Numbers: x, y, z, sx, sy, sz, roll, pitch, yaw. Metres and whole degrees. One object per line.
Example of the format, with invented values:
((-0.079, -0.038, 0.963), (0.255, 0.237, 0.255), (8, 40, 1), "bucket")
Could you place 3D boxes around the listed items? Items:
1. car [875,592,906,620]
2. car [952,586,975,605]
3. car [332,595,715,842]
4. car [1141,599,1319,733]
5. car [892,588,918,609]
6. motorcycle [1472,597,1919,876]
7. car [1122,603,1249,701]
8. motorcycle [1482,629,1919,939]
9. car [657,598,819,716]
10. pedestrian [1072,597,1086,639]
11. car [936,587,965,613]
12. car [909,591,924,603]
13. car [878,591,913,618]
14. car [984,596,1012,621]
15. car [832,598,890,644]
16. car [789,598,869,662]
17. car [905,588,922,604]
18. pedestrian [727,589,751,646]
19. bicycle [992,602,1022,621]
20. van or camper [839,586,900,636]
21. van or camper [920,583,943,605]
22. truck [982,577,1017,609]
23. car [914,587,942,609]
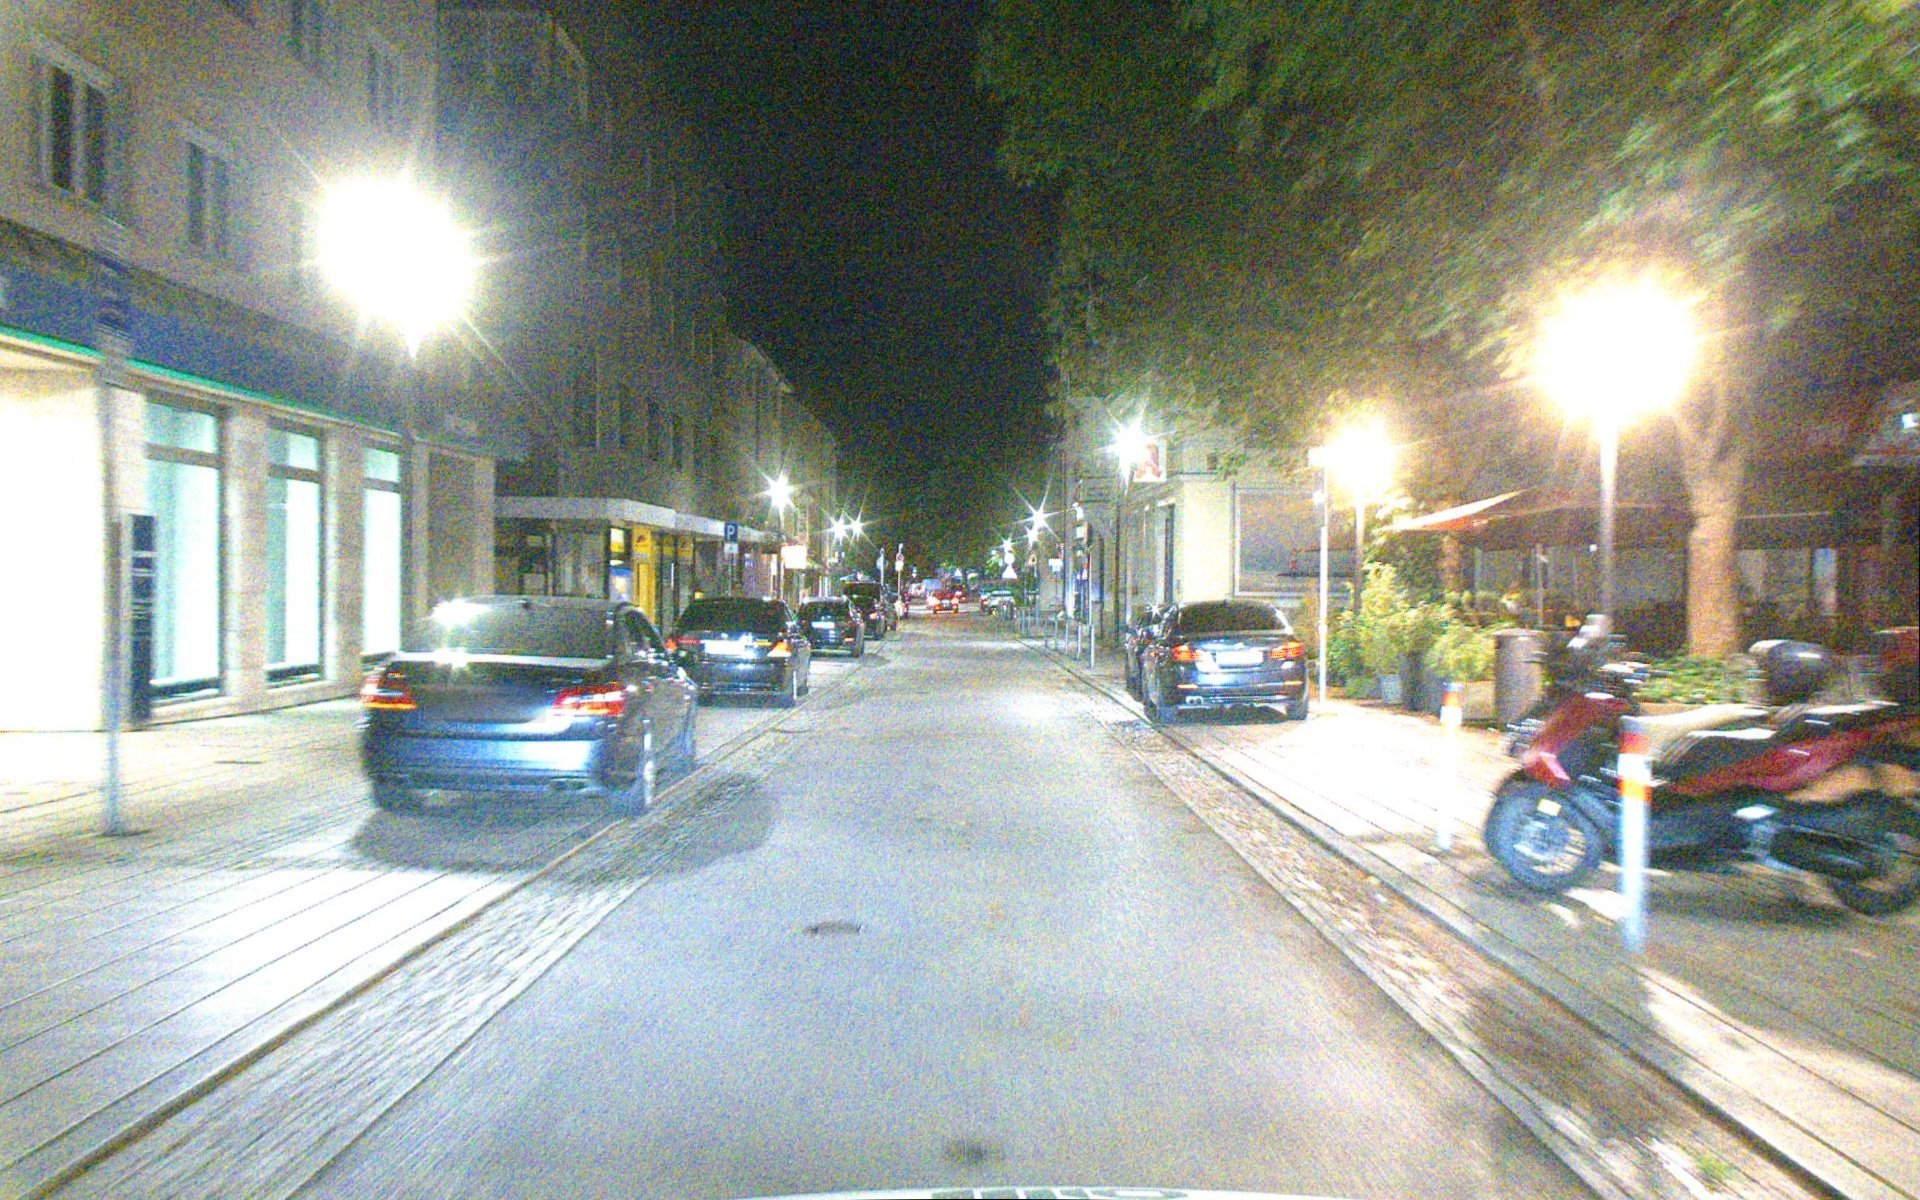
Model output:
((-3.944, 0.331, 94.900), (1.693, 1.502, 3.846), (1, 0, -2), "car")
((0.332, -0.444, 159.604), (1.780, 1.860, 4.341), (0, 1, -7), "car")
((-2.988, 0.720, 12.341), (1.862, 1.496, 4.522), (1, 0, -3), "car")
((3.360, 0.758, 21.349), (1.717, 1.489, 4.468), (-2, 0, 3), "car")
((-4.299, -0.164, 128.560), (1.641, 1.570, 4.225), (1, 0, -6), "car")
((4.036, 0.705, 9.153), (2.218, 1.415, 0.661), (-1, 0, 24), "motorcycle")
((3.568, 0.786, 26.767), (1.626, 1.401, 4.105), (-2, 0, 3), "car")
((3.614, 0.804, 7.835), (2.128, 1.320, 0.513), (-1, 0, 38), "motorcycle")
((-3.130, 0.752, 24.147), (1.807, 1.489, 4.622), (2, 0, -2), "car")
((4.577, 0.687, 63.390), (0.490, 1.574, 0.480), (1, 0, 5), "pedestrian")
((-0.710, -0.017, 117.722), (1.953, 1.855, 3.999), (0, 0, -2), "car")
((-5.235, -0.355, 198.586), (1.501, 1.443, 3.841), (0, 0, -6), "car")
((-3.909, 0.260, 100.350), (1.979, 1.514, 5.006), (3, 0, -1), "car")
((2.476, 0.547, 108.690), (1.753, 1.517, 4.059), (-1, 0, 0), "car")
((-3.342, 0.693, 56.329), (1.681, 1.437, 4.385), (2, 0, 0), "car")
((-3.278, 0.736, 42.107), (1.761, 1.504, 4.320), (1, 0, -1), "car")
((-5.706, -0.533, 204.165), (1.804, 1.934, 3.841), (0, 0, -6), "car")
((-6.981, 0.537, 52.384), (0.608, 1.776, 1.022), (1, 0, 0), "pedestrian")
((2.753, 0.659, 97.109), (1.719, 1.080, 0.346), (0, 0, -4), "bicycle")
((-3.720, 0.413, 69.008), (1.807, 1.976, 5.156), (1, 0, 5), "van or camper")
((-3.205, -0.650, 185.382), (2.069, 2.357, 4.255), (-1, 1, -7), "van or camper")
((2.930, -0.537, 123.703), (2.289, 2.352, 5.779), (-1, 1, -1), "truck")
((-2.630, -0.202, 134.052), (1.955, 1.732, 3.995), (0, 0, -6), "car")
